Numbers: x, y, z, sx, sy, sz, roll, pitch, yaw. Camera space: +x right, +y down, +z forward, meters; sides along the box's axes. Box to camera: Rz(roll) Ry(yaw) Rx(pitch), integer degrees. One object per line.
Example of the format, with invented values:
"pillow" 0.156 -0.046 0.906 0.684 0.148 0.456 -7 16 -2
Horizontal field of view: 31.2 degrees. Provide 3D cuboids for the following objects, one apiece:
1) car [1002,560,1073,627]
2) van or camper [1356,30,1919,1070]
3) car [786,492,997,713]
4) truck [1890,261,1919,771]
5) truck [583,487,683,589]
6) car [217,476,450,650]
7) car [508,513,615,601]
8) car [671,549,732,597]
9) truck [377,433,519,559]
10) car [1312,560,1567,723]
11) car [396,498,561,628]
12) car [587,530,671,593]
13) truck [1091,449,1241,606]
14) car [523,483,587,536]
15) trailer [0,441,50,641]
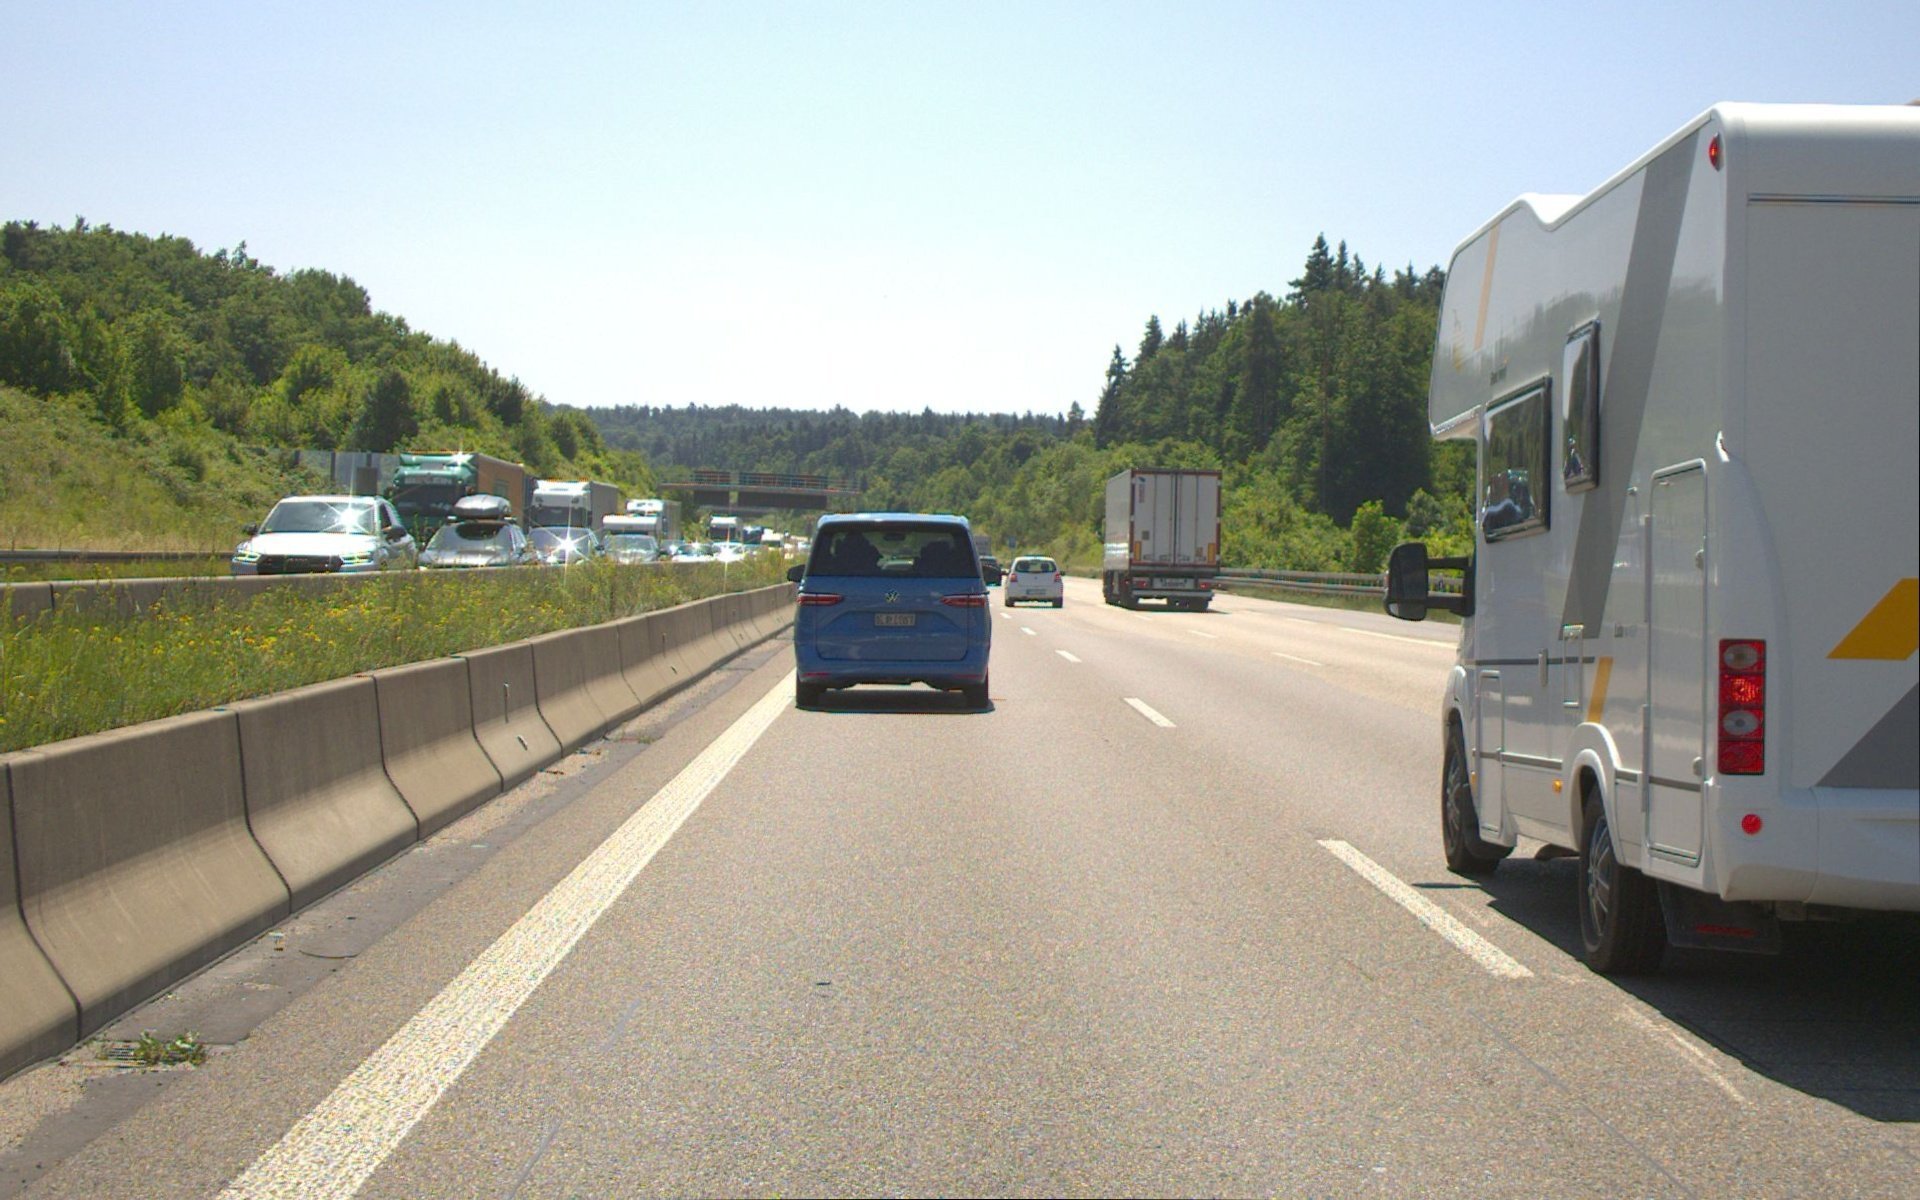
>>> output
"car" 2.268 -0.218 101.212 1.818 1.788 3.894 4 1 -1
"van or camper" 3.397 -0.174 13.787 2.603 3.068 7.182 1 1 -1
"car" -0.664 0.002 34.244 1.909 2.007 4.000 2 1 -1
"truck" 8.195 -0.463 20.360 2.928 3.563 8.527 1 2 0
"truck" -13.424 -2.522 141.966 2.991 3.790 12.164 4 1 -2
"car" -8.127 -0.485 45.094 1.993 2.007 5.163 4 1 0
"car" -8.770 -0.945 75.940 1.788 1.747 4.000 4 1 0
"car" -9.229 -0.967 123.043 1.788 1.541 4.000 4 1 0
"truck" -17.123 -3.382 115.770 2.991 3.790 12.164 4 1 -2
"car" 4.724 0.368 34.405 1.909 1.470 4.000 2 1 -1
"car" -8.257 -0.640 59.366 1.993 2.007 5.163 4 1 0
"car" -8.989 -1.039 93.641 1.788 1.541 4.000 4 1 0
"truck" 5.968 -2.088 101.311 3.487 4.156 8.642 4 1 -1
"car" -17.672 -3.925 150.125 2.086 2.056 5.059 4 1 0
"trailer" -11.596 -0.713 36.999 2.089 2.202 5.163 4 1 0
